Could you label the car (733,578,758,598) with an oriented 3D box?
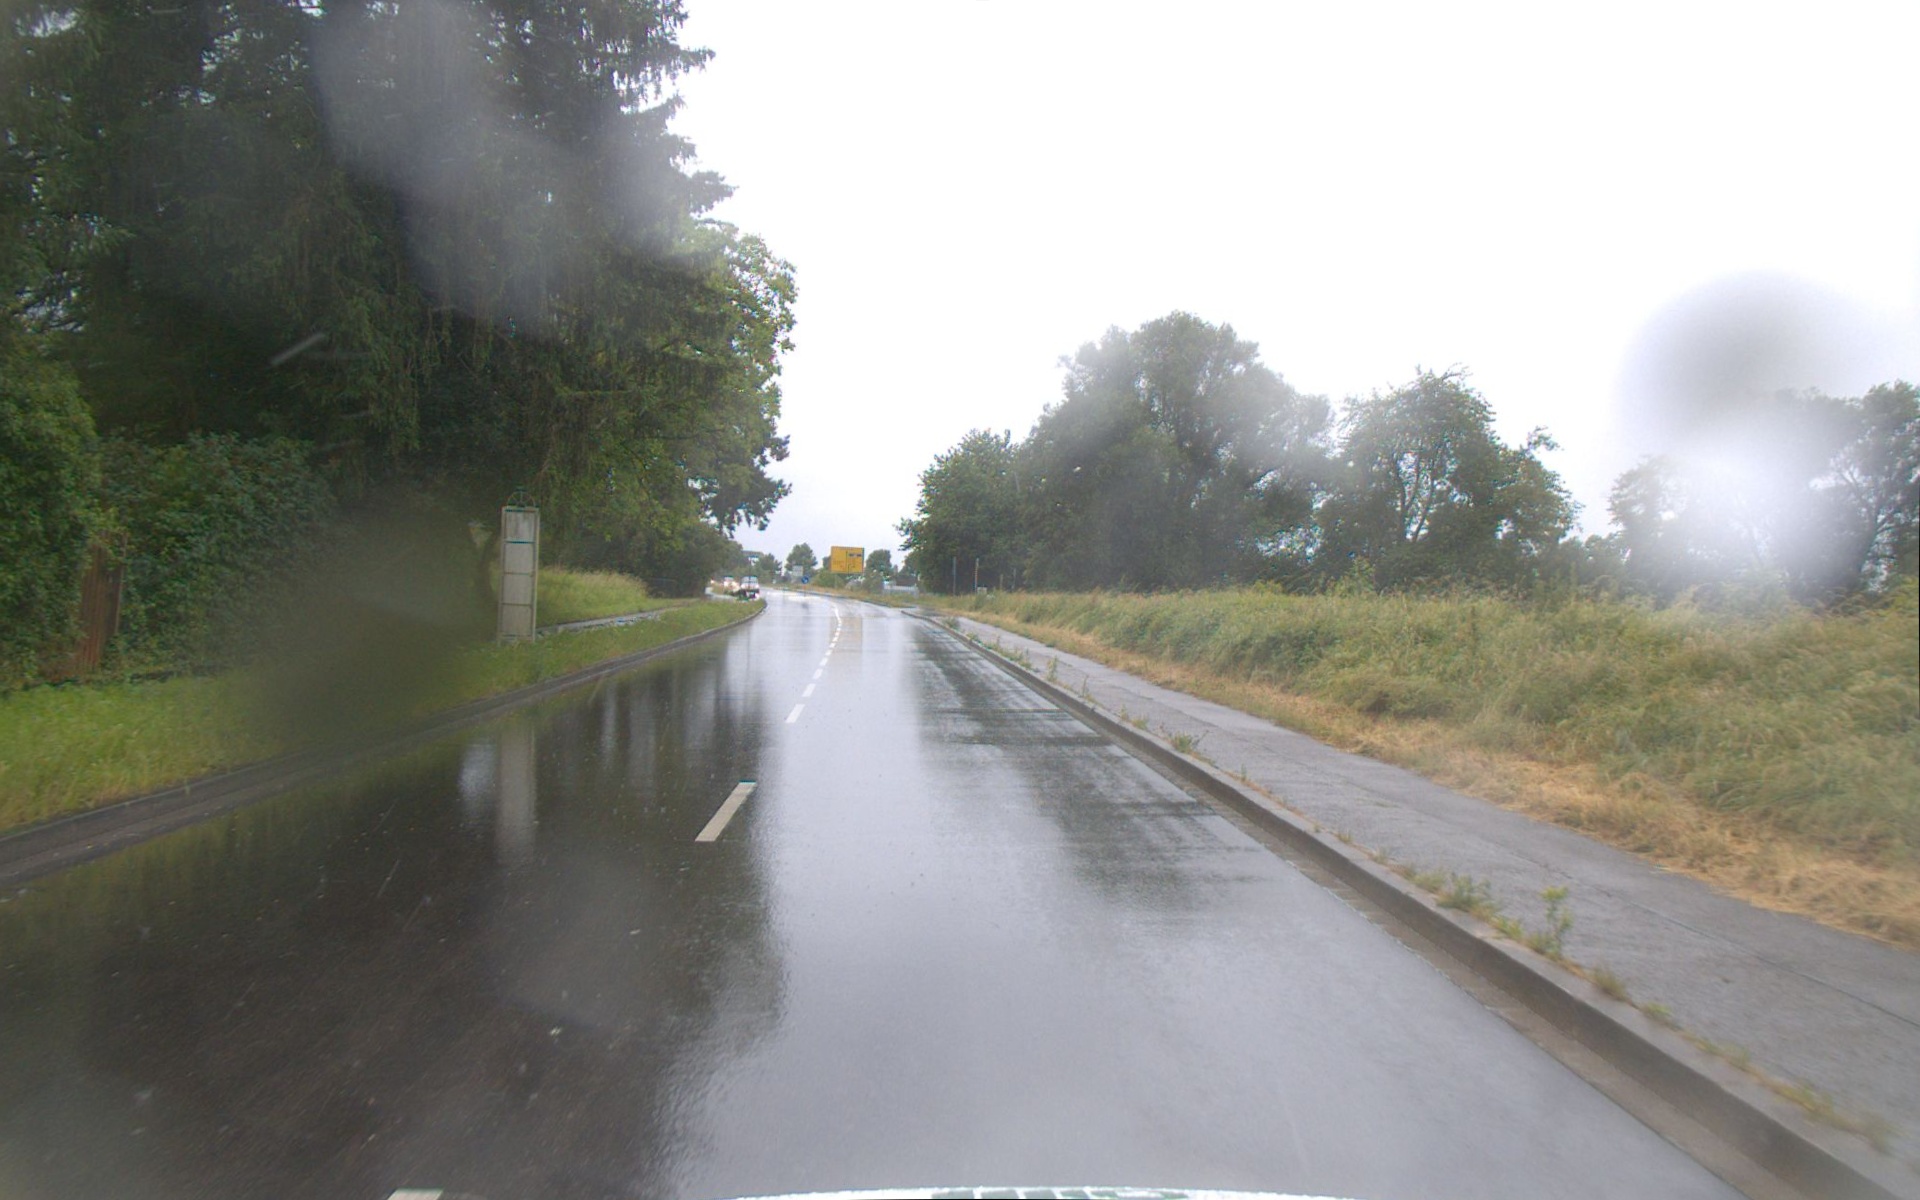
[{"bbox_3d":[-20.382,-1.172,156.958,1.732,1.578,3.984,1,4,-17],"label":"car"}]
